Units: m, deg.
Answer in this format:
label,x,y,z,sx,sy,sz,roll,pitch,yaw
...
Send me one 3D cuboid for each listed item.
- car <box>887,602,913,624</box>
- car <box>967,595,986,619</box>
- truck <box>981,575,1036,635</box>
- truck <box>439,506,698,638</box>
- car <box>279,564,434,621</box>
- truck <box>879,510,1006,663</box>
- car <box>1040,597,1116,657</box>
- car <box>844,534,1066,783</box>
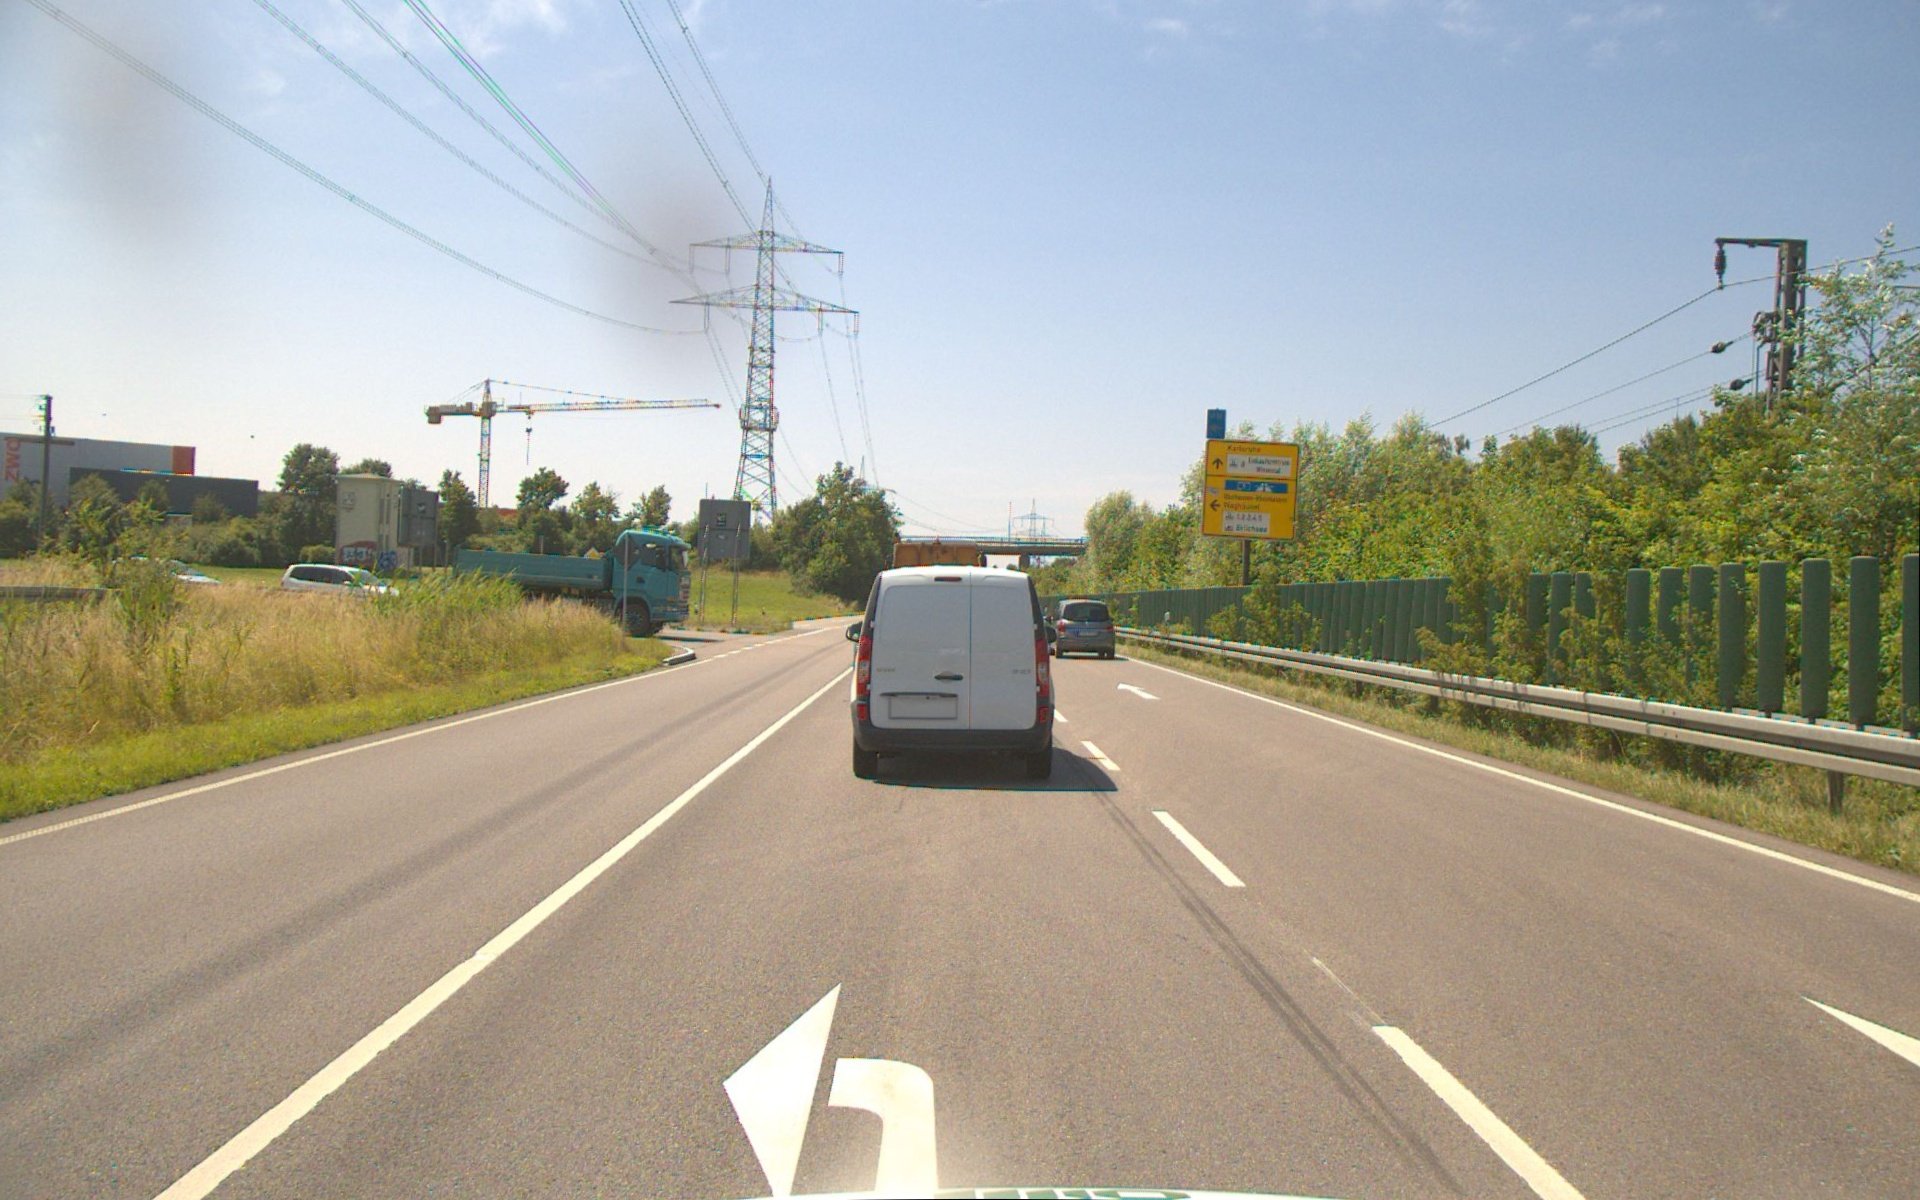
label,x,y,z,sx,sy,sz,roll,pitch,yaw
car,-4.448,0.939,123.002,1.690,1.466,4.248,4,0,0
car,1.456,0.634,147.247,1.527,2.049,3.588,2,0,-1
truck,2.360,0.241,82.668,2.326,2.736,8.008,2,0,-1
truck,-12.868,-0.904,54.715,7.741,3.799,2.498,3,0,2
car,-20.038,-0.247,54.977,4.445,1.640,1.969,3,0,14
truck,-0.570,-0.350,41.670,2.764,3.345,9.697,1,1,-2
car,3.258,0.726,46.307,1.811,1.601,4.000,1,0,0
car,-0.066,0.479,15.495,1.790,2.005,3.999,1,0,-1
